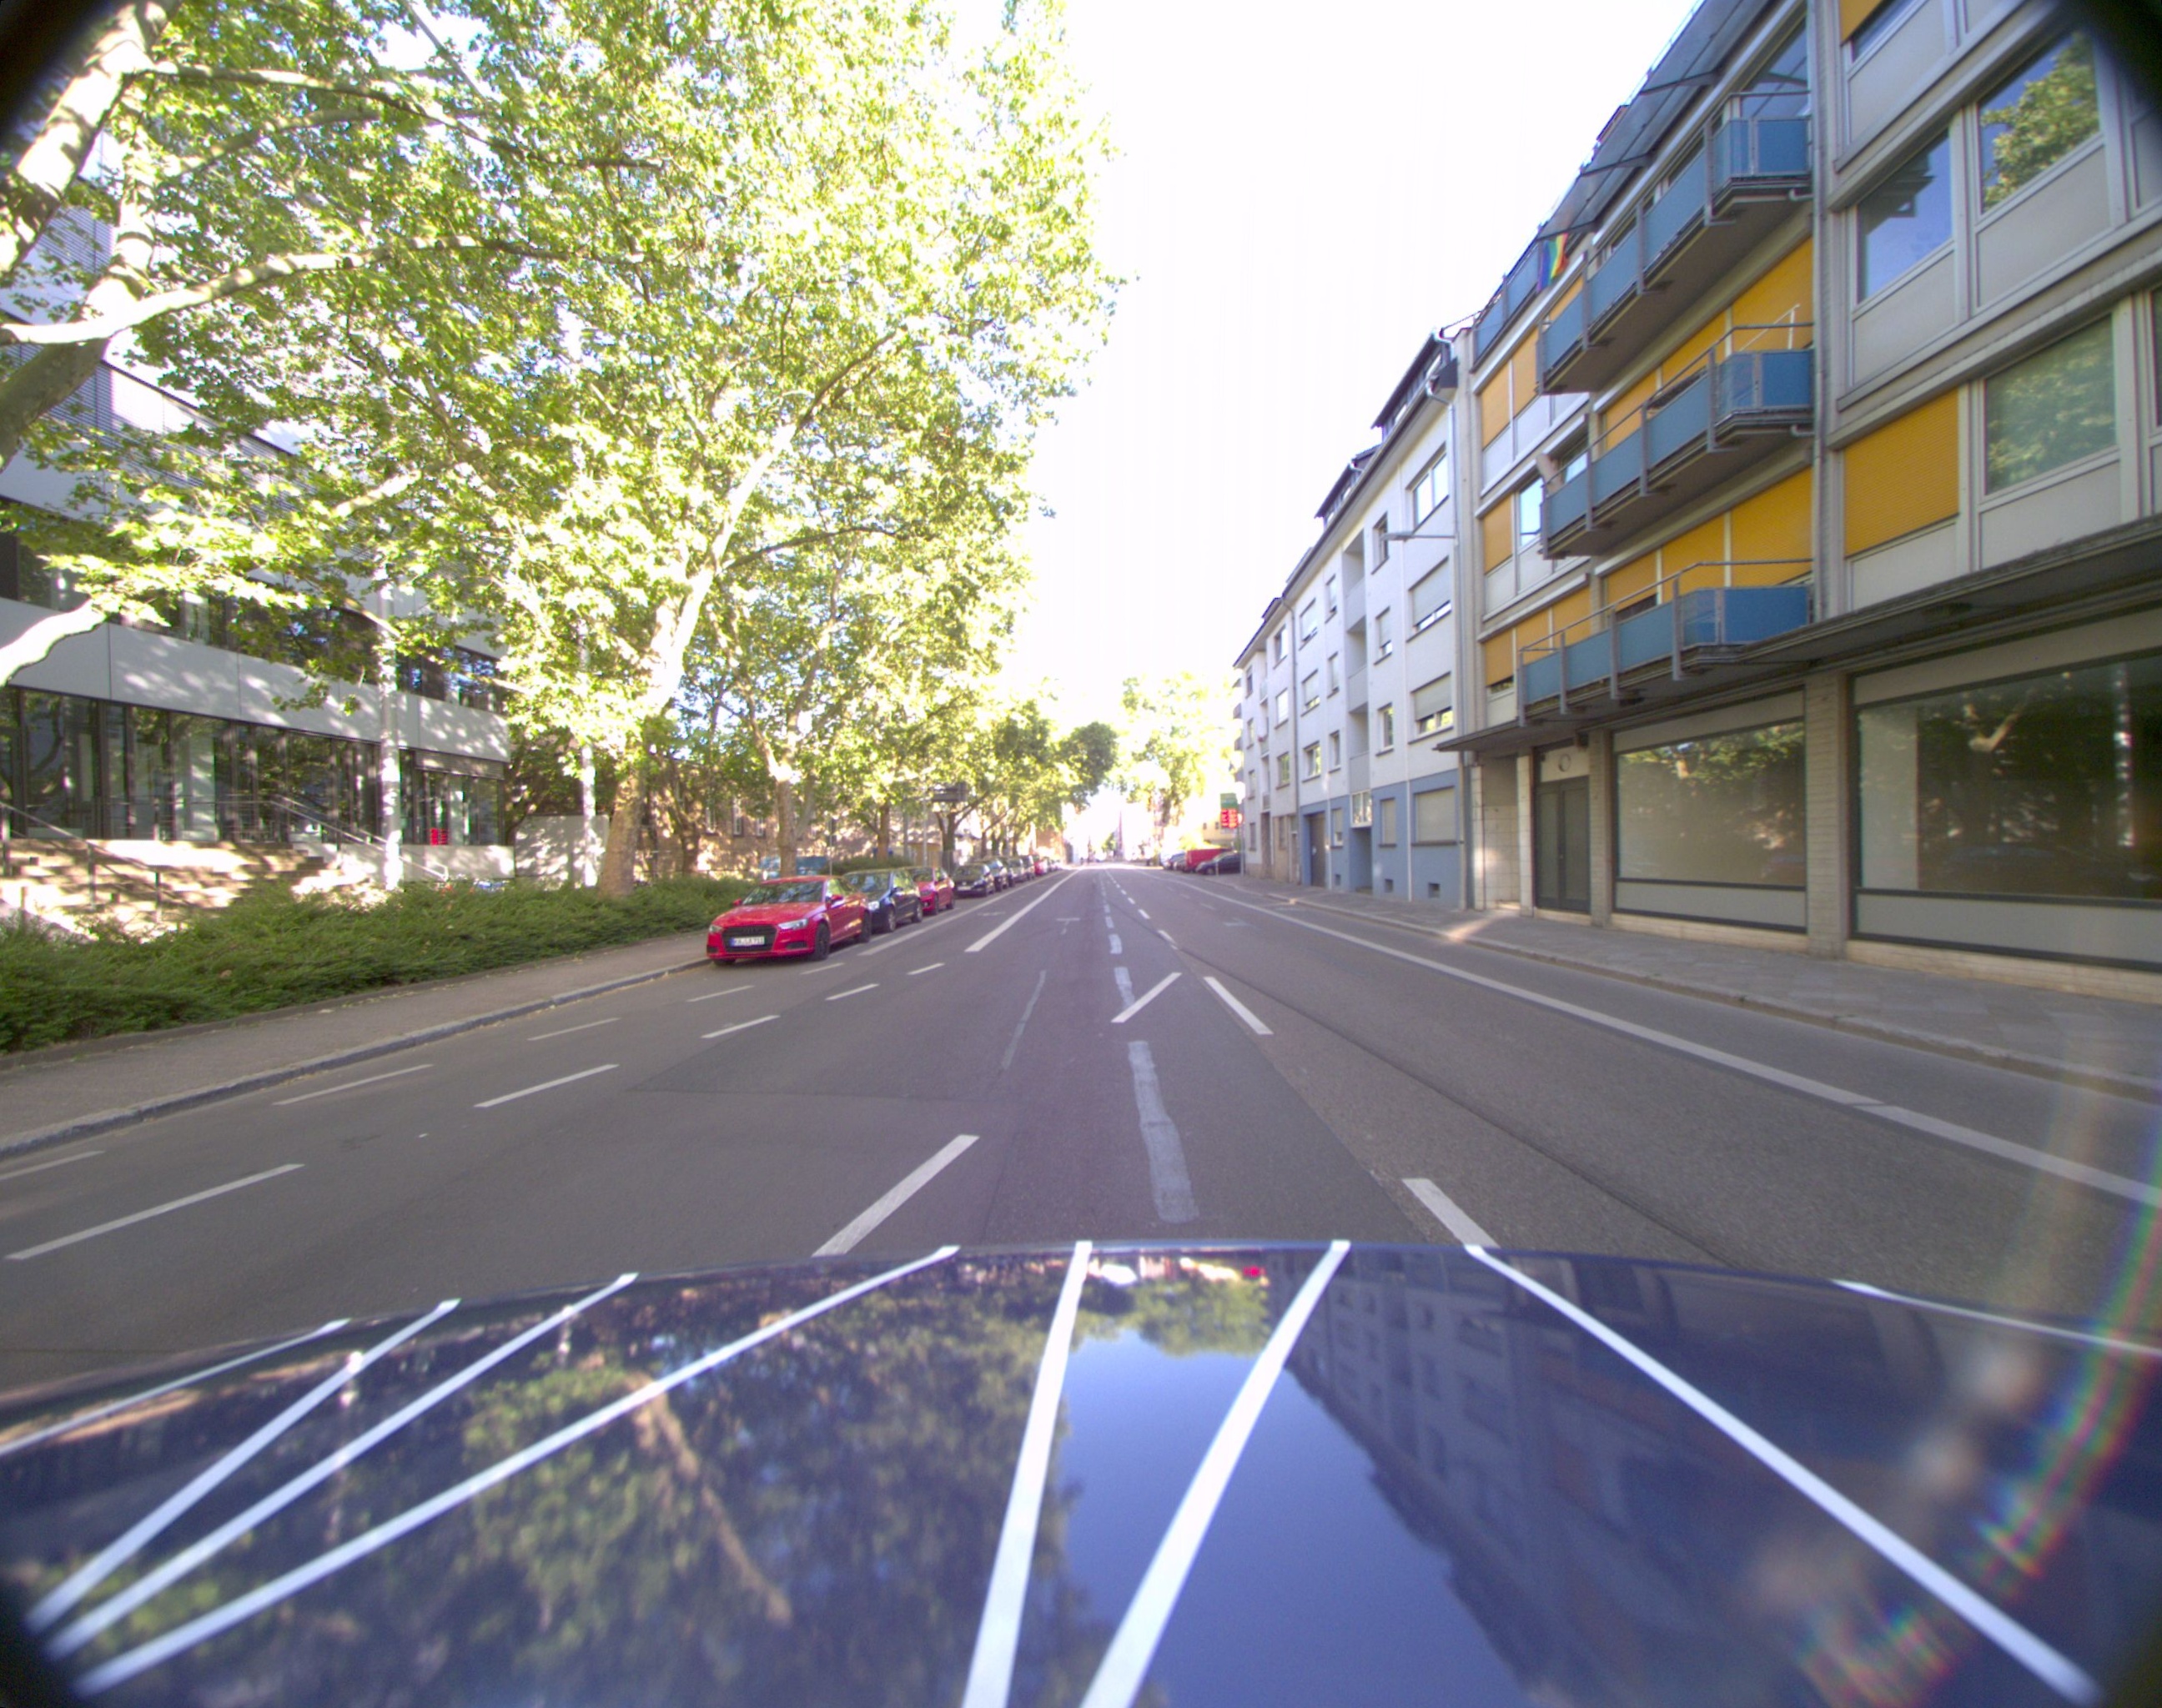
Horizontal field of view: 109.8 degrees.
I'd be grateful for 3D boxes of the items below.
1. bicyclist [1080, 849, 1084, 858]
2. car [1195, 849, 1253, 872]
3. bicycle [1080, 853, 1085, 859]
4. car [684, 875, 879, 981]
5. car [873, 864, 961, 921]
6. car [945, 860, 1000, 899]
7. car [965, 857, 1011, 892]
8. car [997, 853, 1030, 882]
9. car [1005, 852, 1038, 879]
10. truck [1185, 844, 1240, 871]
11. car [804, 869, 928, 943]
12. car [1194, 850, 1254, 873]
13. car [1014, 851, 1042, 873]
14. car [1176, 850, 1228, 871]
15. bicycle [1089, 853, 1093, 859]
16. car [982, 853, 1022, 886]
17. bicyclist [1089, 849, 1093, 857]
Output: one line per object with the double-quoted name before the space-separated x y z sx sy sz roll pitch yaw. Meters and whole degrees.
"bicyclist" 0.250 -0.074 139.996 0.718 1.573 0.936 -2 1 1
"car" 10.721 0.478 57.151 3.996 1.494 1.761 -2 1 2
"bicycle" 0.278 0.425 139.938 0.717 1.052 2.485 -2 1 1
"car" -5.142 1.193 13.729 1.818 1.405 4.163 -3 0 0
"car" -5.035 1.124 23.868 1.818 1.475 4.163 -3 0 0
"car" -4.708 1.078 33.395 1.790 1.451 4.163 -3 0 0
"car" -4.607 0.979 38.141 1.790 1.544 4.163 -3 0 0
"car" -4.452 0.853 50.713 1.790 1.745 4.552 -3 0 0
"car" -4.324 0.797 55.671 2.042 1.745 4.552 -3 0 0
"truck" 10.361 0.245 60.001 3.996 1.925 1.761 -2 1 2
"car" -5.087 1.170 18.585 1.818 1.405 4.163 -3 0 0
"car" 10.247 0.545 54.804 3.996 1.449 1.761 -2 1 2
"car" -4.598 0.701 66.102 2.042 1.745 4.552 -3 0 0
"car" 9.971 0.525 62.854 3.996 1.494 1.761 -2 1 2
"bicycle" 1.808 0.325 140.740 0.717 1.052 2.485 -2 1 1
"car" -4.530 0.869 44.157 1.790 1.745 4.345 -3 0 0
"bicyclist" 1.797 -0.161 140.721 0.718 1.573 0.936 -2 1 1
